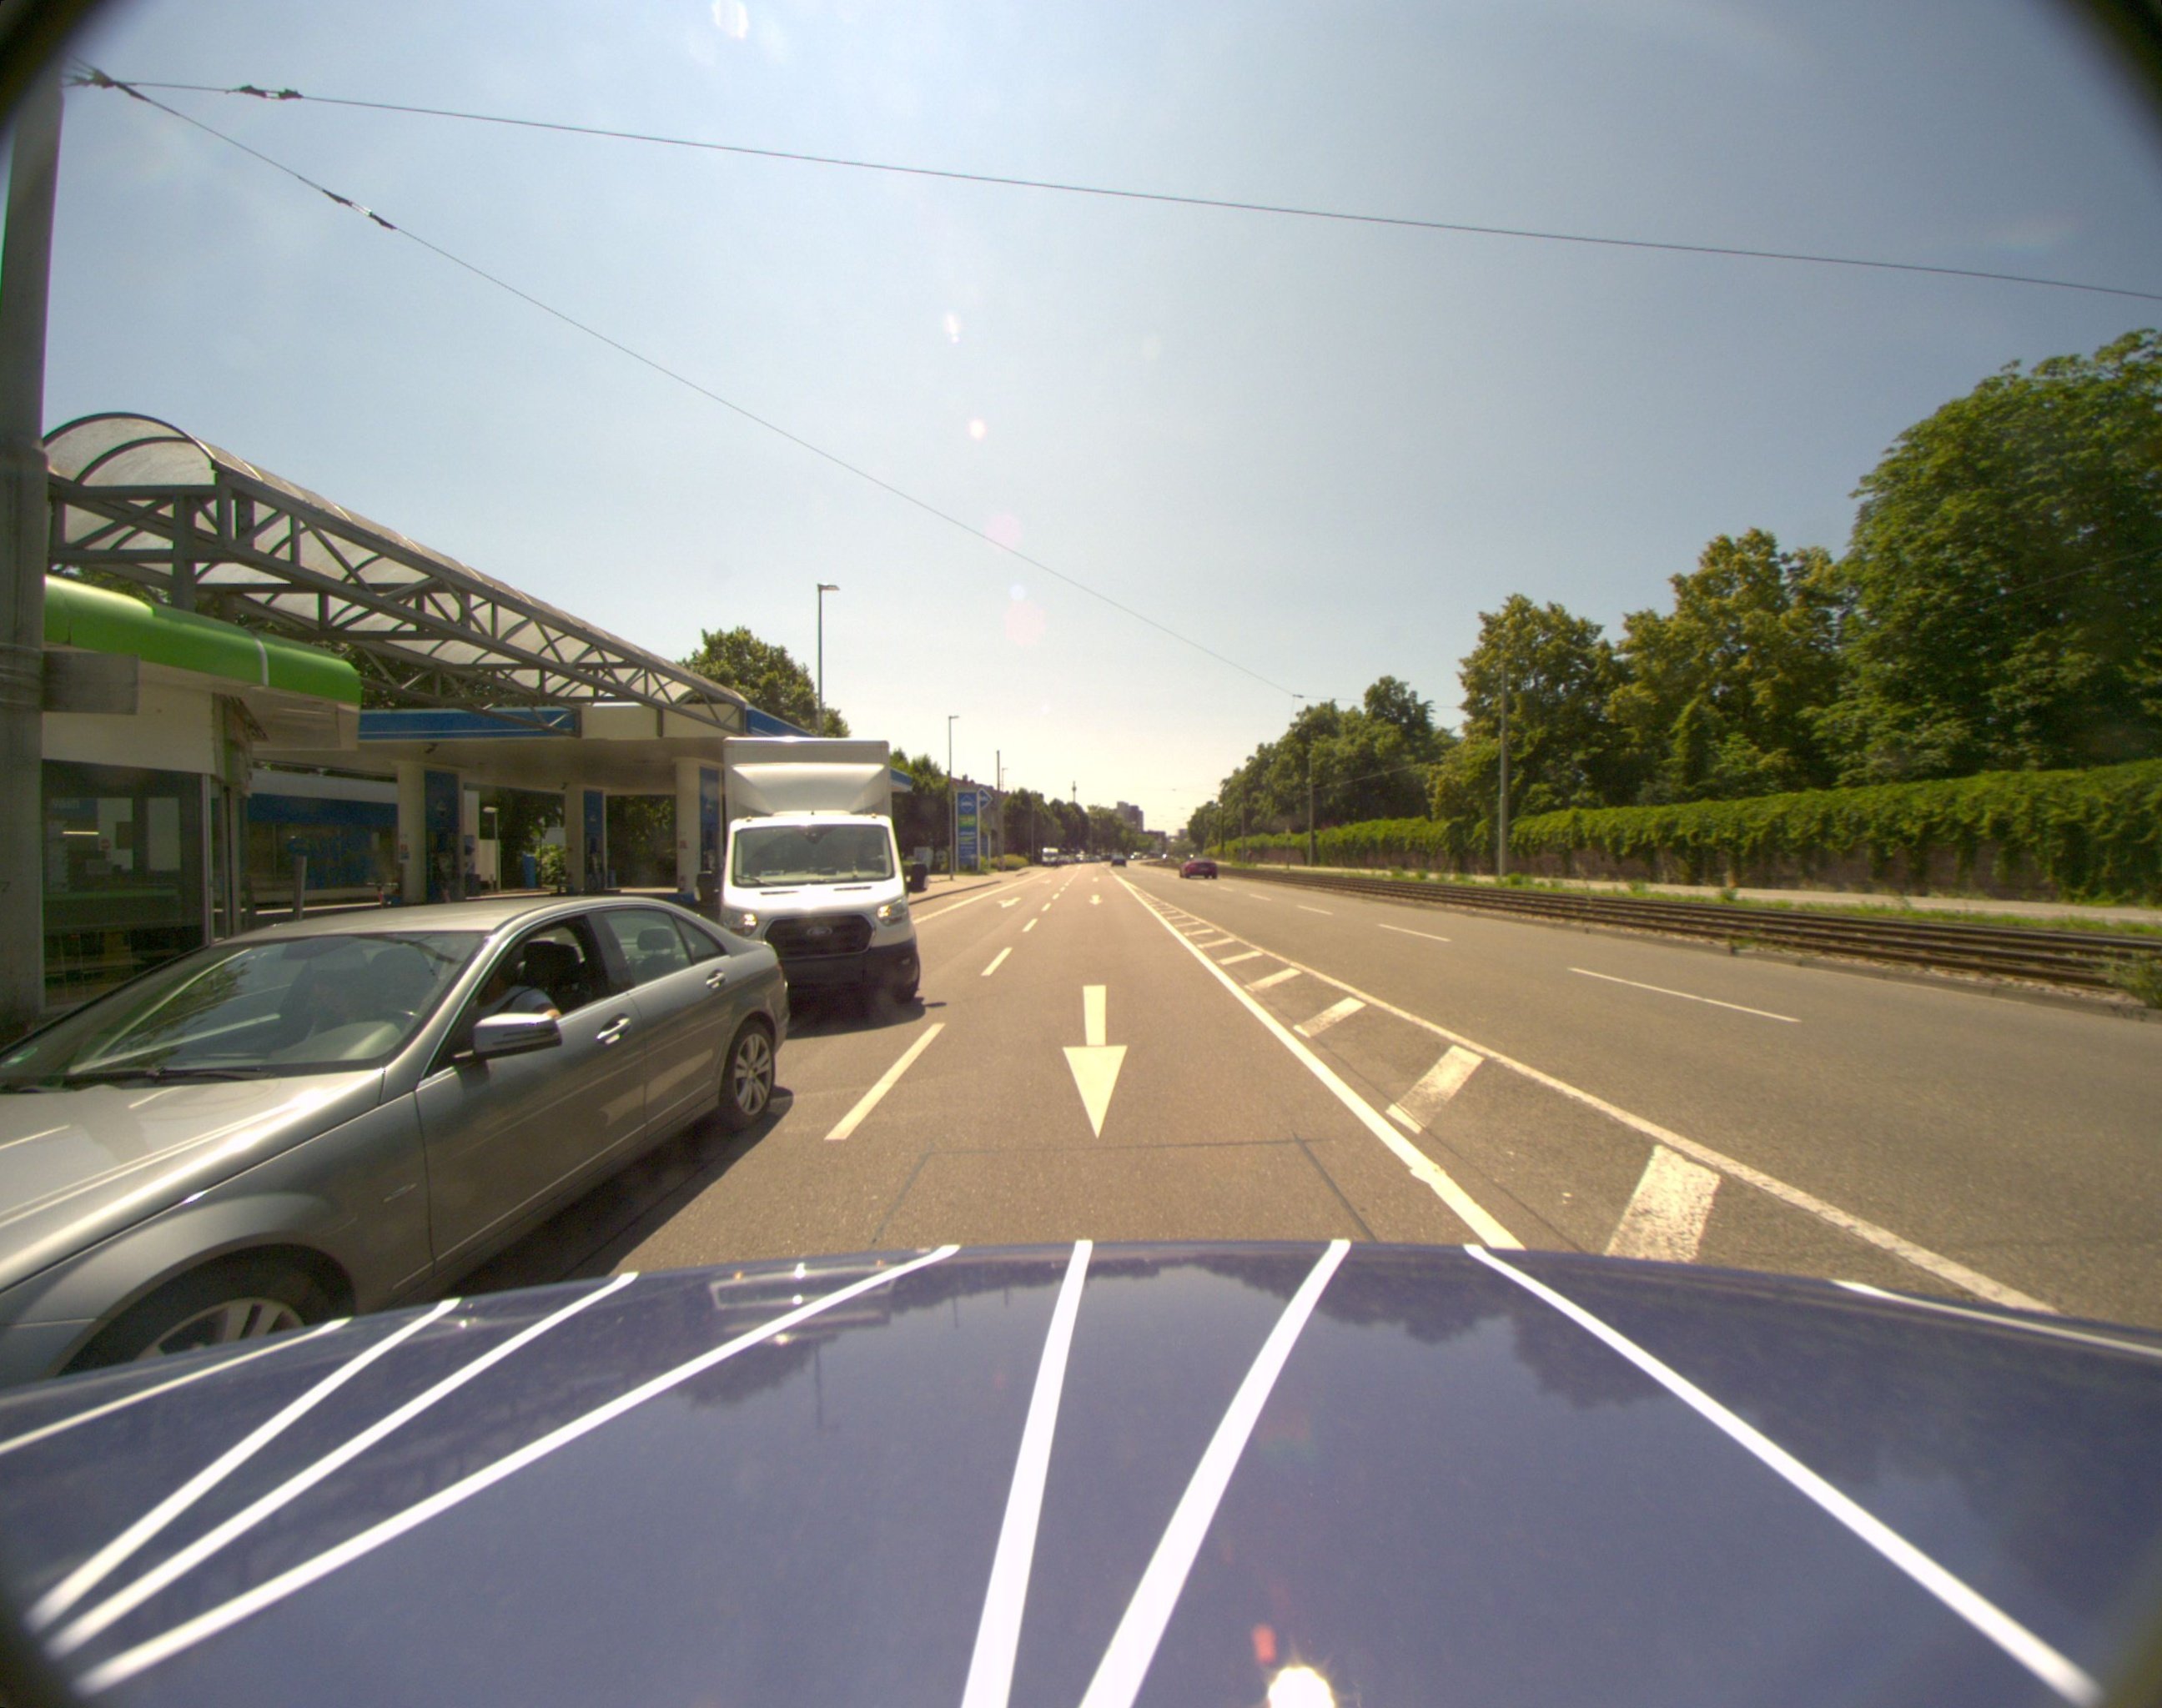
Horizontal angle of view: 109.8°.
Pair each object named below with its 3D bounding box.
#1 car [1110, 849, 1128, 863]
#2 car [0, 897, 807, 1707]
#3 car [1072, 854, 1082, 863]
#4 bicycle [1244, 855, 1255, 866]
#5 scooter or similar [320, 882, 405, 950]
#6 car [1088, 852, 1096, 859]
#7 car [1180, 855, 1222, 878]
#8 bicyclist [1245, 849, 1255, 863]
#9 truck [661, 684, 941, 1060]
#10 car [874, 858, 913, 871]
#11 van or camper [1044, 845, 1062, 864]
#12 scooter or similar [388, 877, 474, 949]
[{"bbox_3d":[4.648,0.229,93.589,1.998,1.608,4.000,-1,0,1],"label":"car"},{"bbox_3d":[-2.891,1.045,3.093,1.800,1.441,4.418,-1,0,2],"label":"car"},{"bbox_3d":[-0.778,0.848,149.772,1.725,1.586,4.001,-1,0,3],"label":"car"},{"bbox_3d":[18.487,0.667,83.289,0.830,1.149,2.686,-1,0,6],"label":"bicycle"},{"bbox_3d":[-12.899,1.103,13.652,1.138,1.170,0.384,-1,1,2],"label":"scooter or similar"},{"bbox_3d":[2.533,0.287,169.756,1.806,1.585,4.000,-1,0,1],"label":"car"},{"bbox_3d":[7.356,0.737,46.864,1.989,1.350,4.538,-1,0,2],"label":"car"},{"bbox_3d":[18.475,0.197,83.086,0.996,1.477,1.000,-1,1,6],"label":"bicyclist"},{"bbox_3d":[-3.848,0.153,10.908,2.430,3.372,7.820,-1,0,-19],"label":"truck"},{"bbox_3d":[-23.524,1.313,95.433,4.221,1.512,2.001,-1,0,9],"label":"car"},{"bbox_3d":[-3.731,0.037,100.992,2.126,2.469,5.993,2,0,0],"label":"van or camper"},{"bbox_3d":[-11.646,1.050,13.621,1.176,1.233,0.412,-1,1,2],"label":"scooter or similar"}]
